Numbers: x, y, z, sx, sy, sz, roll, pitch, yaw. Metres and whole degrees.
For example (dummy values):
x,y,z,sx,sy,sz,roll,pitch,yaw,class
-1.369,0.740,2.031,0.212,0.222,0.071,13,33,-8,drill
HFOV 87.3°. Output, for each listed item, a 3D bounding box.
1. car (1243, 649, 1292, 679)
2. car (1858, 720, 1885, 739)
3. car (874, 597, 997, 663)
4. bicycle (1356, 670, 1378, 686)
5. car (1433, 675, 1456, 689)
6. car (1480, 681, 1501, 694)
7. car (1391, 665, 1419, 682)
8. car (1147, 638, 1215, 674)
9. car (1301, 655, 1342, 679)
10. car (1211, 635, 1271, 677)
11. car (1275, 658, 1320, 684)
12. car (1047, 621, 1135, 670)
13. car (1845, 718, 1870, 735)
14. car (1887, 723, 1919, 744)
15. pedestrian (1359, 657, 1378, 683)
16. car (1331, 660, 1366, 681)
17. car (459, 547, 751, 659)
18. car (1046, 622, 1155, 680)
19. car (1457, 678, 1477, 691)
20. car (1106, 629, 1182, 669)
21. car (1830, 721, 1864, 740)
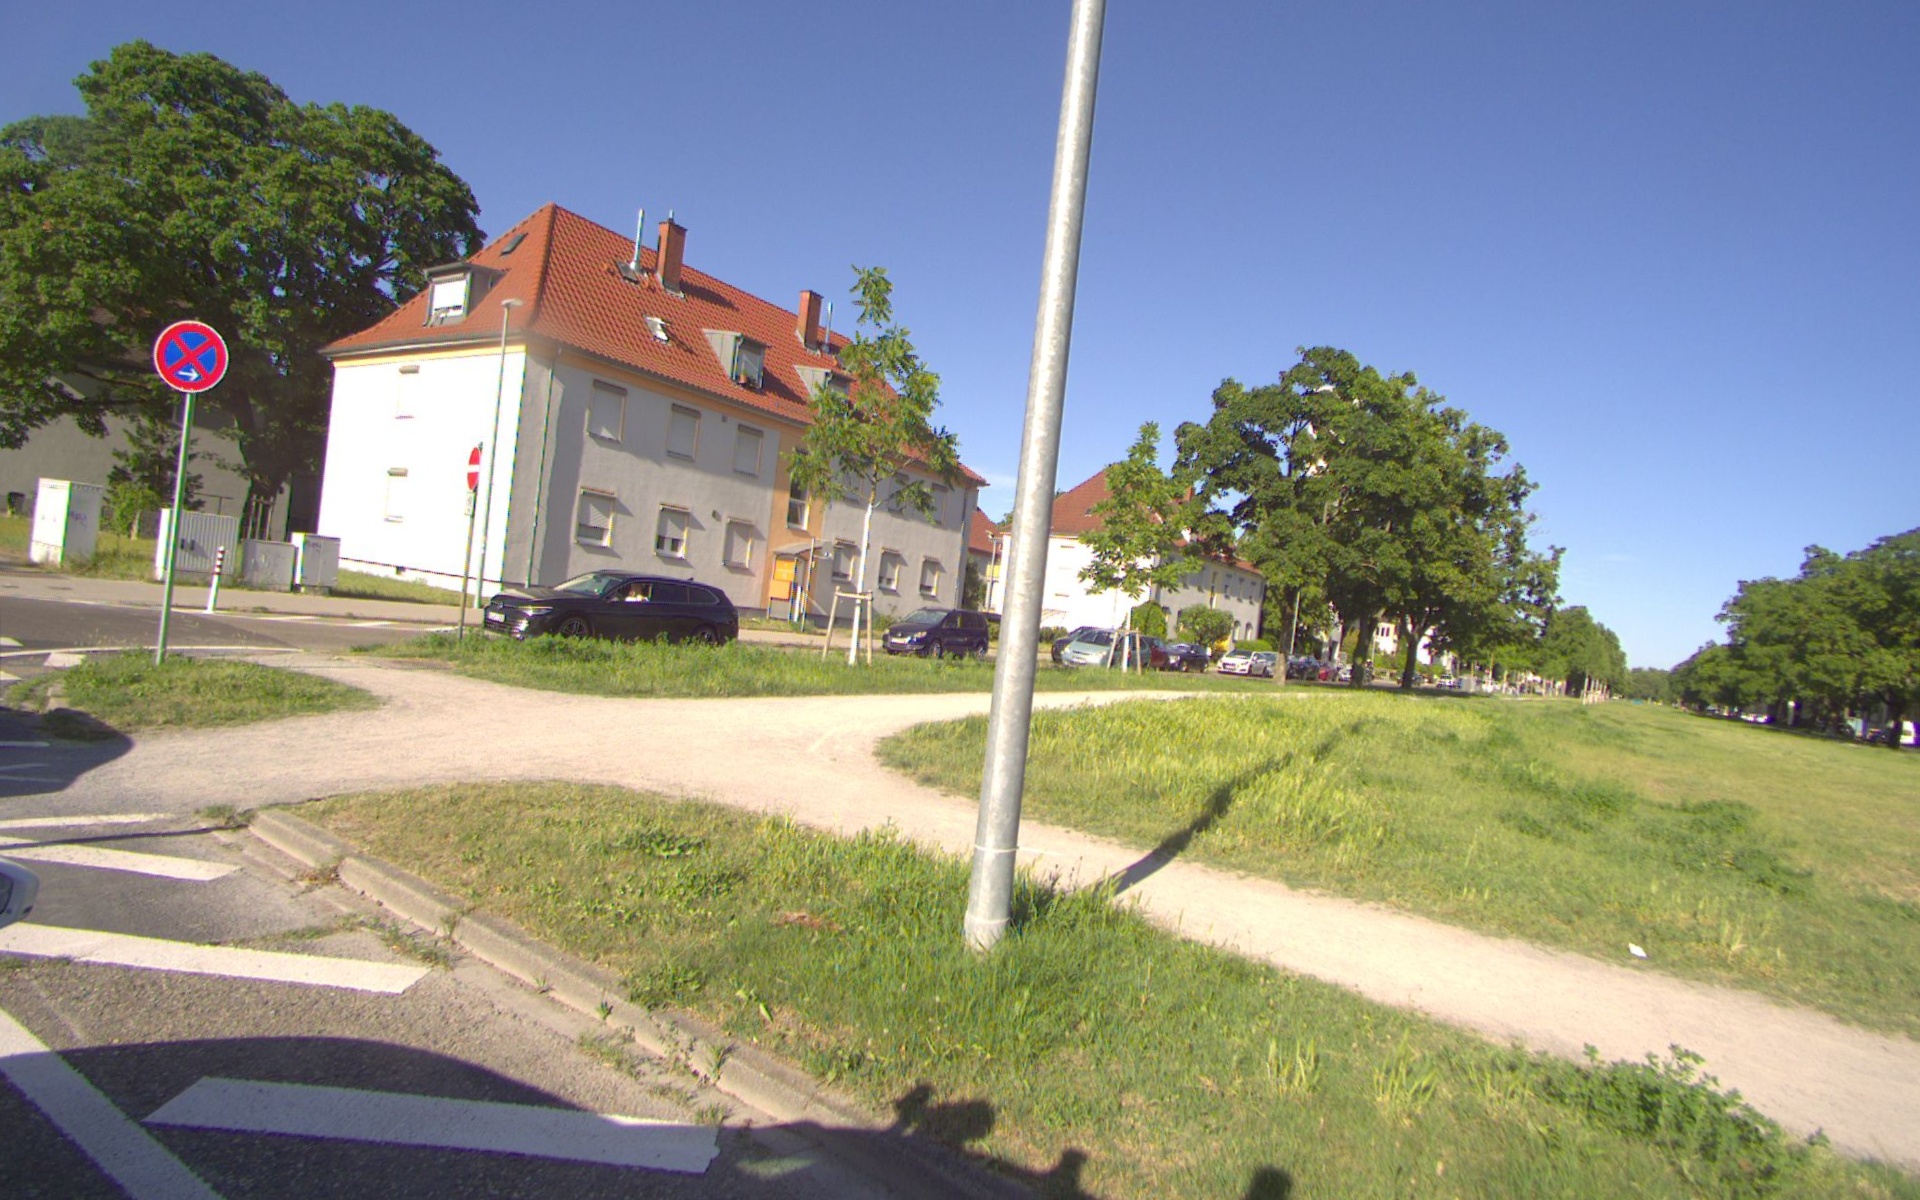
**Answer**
x,y,z,sx,sy,sz,roll,pitch,yaw,class
18.862,3.938,61.584,1.694,1.517,3.798,7,0,35,car
110.291,15.632,121.753,1.837,1.868,3.982,7,0,36,car
-0.712,0.985,31.985,1.694,1.684,4.053,7,0,35,car
29.738,5.702,73.444,1.036,0.949,2.759,7,0,30,bicycle
56.731,9.576,117.802,1.694,1.358,3.798,7,0,35,car
63.795,10.506,120.895,1.694,1.358,3.798,7,0,35,car
43.831,7.231,99.076,1.694,1.358,3.798,7,0,35,car
10.900,2.783,49.503,1.694,1.459,4.129,7,0,35,car
25.619,4.739,71.161,1.694,1.358,3.798,7,0,35,car
16.038,3.232,57.229,1.842,2.038,4.244,7,0,35,car
22.151,4.681,65.992,1.694,1.358,3.798,7,0,35,car
5.364,1.876,40.887,1.694,1.602,4.129,7,0,35,car
119.255,16.816,133.703,1.837,1.868,3.982,7,0,36,car
103.568,14.625,110.537,1.837,1.868,3.982,7,0,36,car
29.841,5.117,73.493,1.036,1.730,0.692,7,1,30,pedestrian
31.043,5.672,80.329,1.694,1.358,3.798,7,0,35,car
-6.414,0.131,18.709,1.969,1.543,4.740,7,0,37,car
4.925,1.790,34.797,1.859,1.628,4.235,7,0,35,car
65.833,10.975,130.645,1.694,1.358,3.798,7,0,35,car
8.401,2.262,45.707,1.694,1.459,4.129,7,0,35,car
93.220,13.709,105.766,2.049,1.484,4.713,7,0,36,car
